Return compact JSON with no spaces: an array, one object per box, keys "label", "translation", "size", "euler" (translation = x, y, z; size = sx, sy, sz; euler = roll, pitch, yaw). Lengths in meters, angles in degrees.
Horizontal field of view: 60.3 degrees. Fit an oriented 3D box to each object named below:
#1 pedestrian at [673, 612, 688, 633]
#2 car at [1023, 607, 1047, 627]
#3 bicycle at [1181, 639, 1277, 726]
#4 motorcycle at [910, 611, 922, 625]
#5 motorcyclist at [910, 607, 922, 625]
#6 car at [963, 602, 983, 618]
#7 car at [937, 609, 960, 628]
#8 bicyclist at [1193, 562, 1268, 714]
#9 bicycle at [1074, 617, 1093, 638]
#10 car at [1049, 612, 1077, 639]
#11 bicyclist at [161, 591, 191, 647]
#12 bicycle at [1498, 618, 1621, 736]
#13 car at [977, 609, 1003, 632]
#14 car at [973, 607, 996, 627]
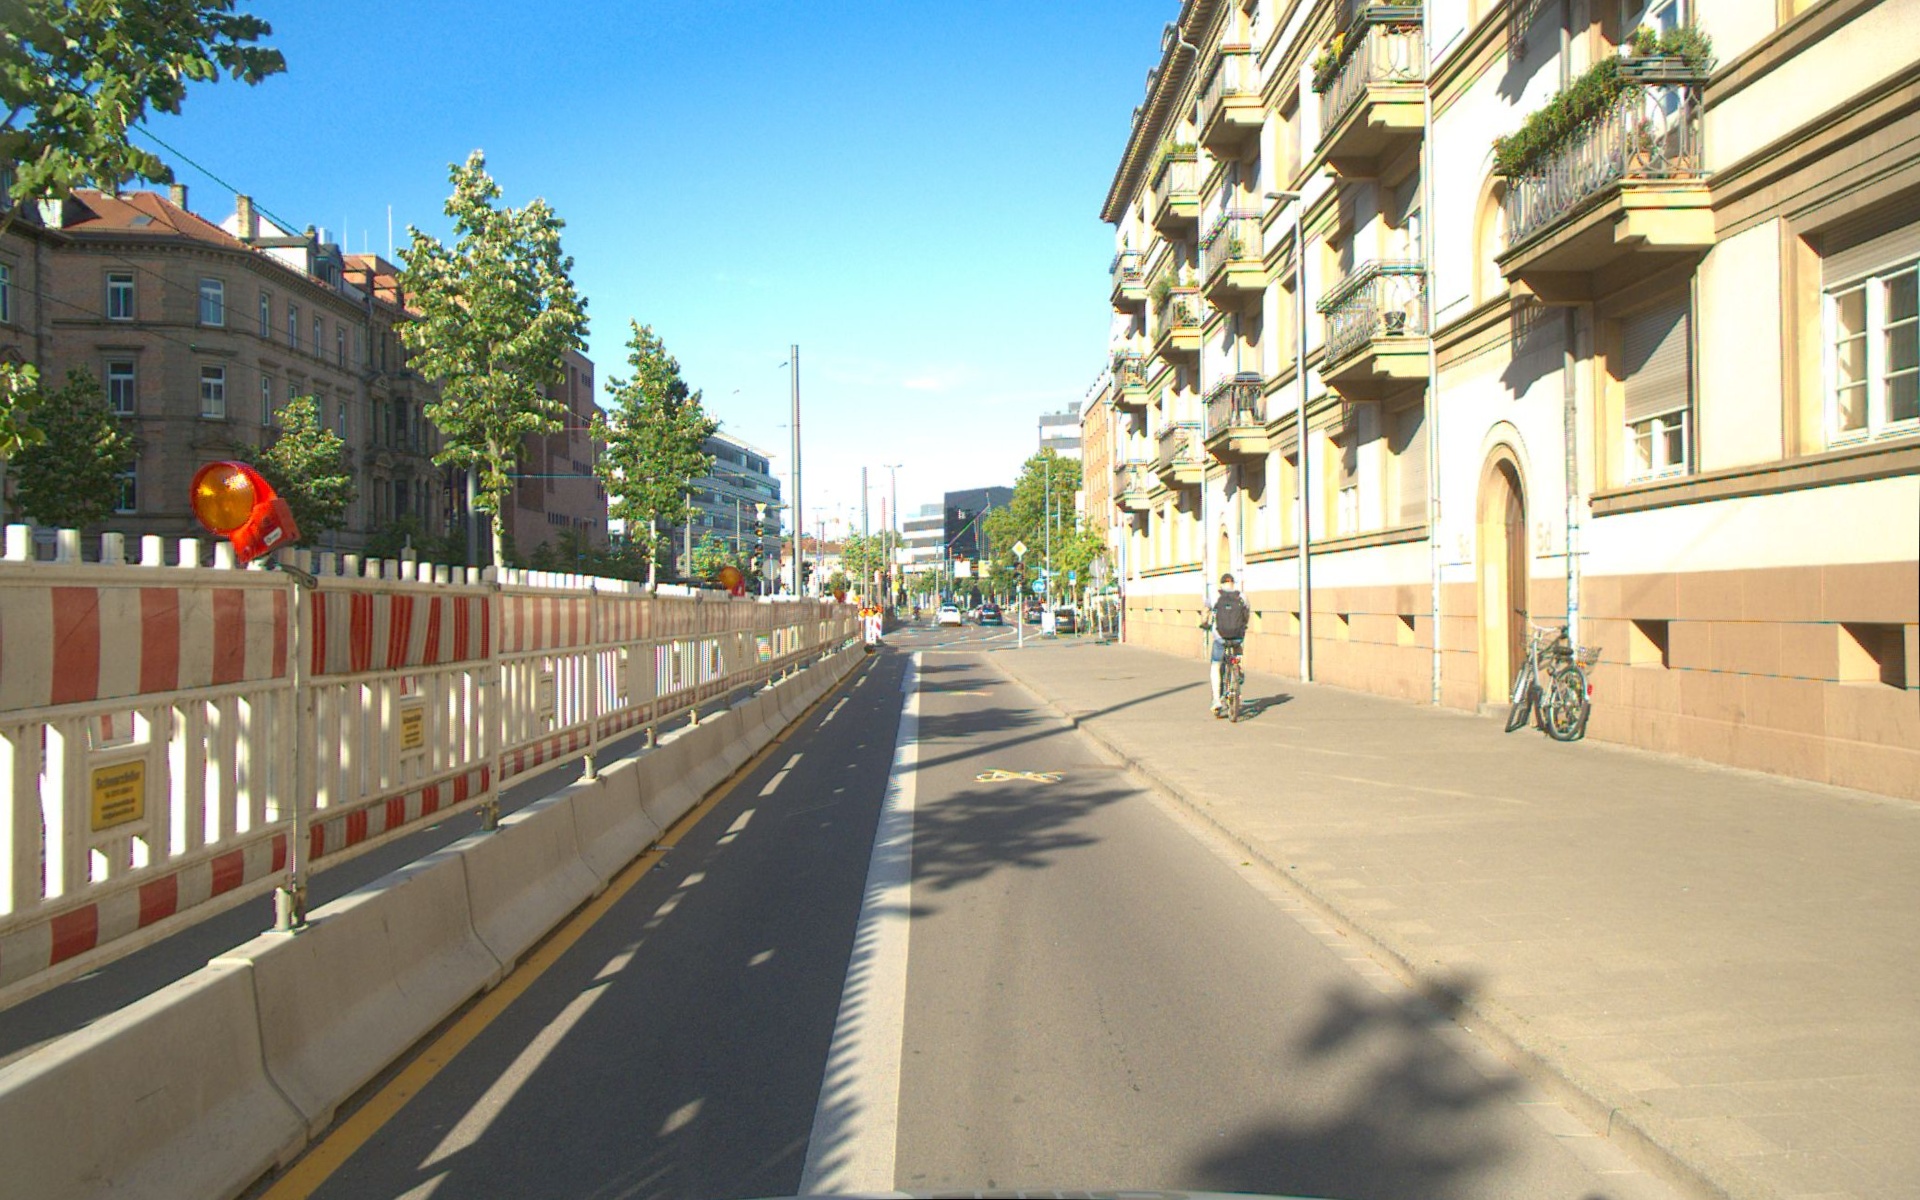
[{"label":"pedestrian","translation":[-16.128,1.292,95.468],"size":[0.706,1.188,0.721],"euler":[-2,-1,-1]},{"label":"car","translation":[6.658,1.500,147.163],"size":[1.809,1.587,4.633],"euler":[1,2,0]},{"label":"bicycle","translation":[3.271,0.982,20.307],"size":[0.752,0.969,2.197],"euler":[-1,0,-2]},{"label":"motorcycle","translation":[-4.126,1.680,155.179],"size":[0.998,1.335,2.914],"euler":[1,0,0]},{"label":"motorcyclist","translation":[-4.128,1.503,155.259],"size":[0.998,1.631,1.148],"euler":[1,0,-1]},{"label":"car","translation":[1.219,0.970,159.797],"size":[1.813,1.524,4.378],"euler":[0,0,-1]},{"label":"car","translation":[-0.908,1.458,129.521],"size":[1.744,1.439,4.817],"euler":[1,0,-1]},{"label":"bicyclist","translation":[3.280,0.457,20.140],"size":[0.718,1.794,0.937],"euler":[-1,-1,-2]},{"label":"bicycle","translation":[7.198,1.614,96.323],"size":[0.750,1.100,1.996],"euler":[-5,-1,-4]},{"label":"car","translation":[6.632,1.612,106.245],"size":[1.684,1.665,4.233],"euler":[-1,-1,5]},{"label":"bicyclist","translation":[-25.689,0.616,54.204],"size":[0.872,1.805,0.848],"euler":[0,-1,-27]},{"label":"bicycle","translation":[6.072,0.744,16.871],"size":[0.409,1.114,2.197],"euler":[-1,0,-1]},{"label":"car","translation":[2.421,1.691,135.380],"size":[1.935,1.790,4.632],"euler":[1,0,0]},{"label":"car","translation":[2.074,1.438,143.022],"size":[1.813,1.668,4.377],"euler":[1,-1,-1]}]
